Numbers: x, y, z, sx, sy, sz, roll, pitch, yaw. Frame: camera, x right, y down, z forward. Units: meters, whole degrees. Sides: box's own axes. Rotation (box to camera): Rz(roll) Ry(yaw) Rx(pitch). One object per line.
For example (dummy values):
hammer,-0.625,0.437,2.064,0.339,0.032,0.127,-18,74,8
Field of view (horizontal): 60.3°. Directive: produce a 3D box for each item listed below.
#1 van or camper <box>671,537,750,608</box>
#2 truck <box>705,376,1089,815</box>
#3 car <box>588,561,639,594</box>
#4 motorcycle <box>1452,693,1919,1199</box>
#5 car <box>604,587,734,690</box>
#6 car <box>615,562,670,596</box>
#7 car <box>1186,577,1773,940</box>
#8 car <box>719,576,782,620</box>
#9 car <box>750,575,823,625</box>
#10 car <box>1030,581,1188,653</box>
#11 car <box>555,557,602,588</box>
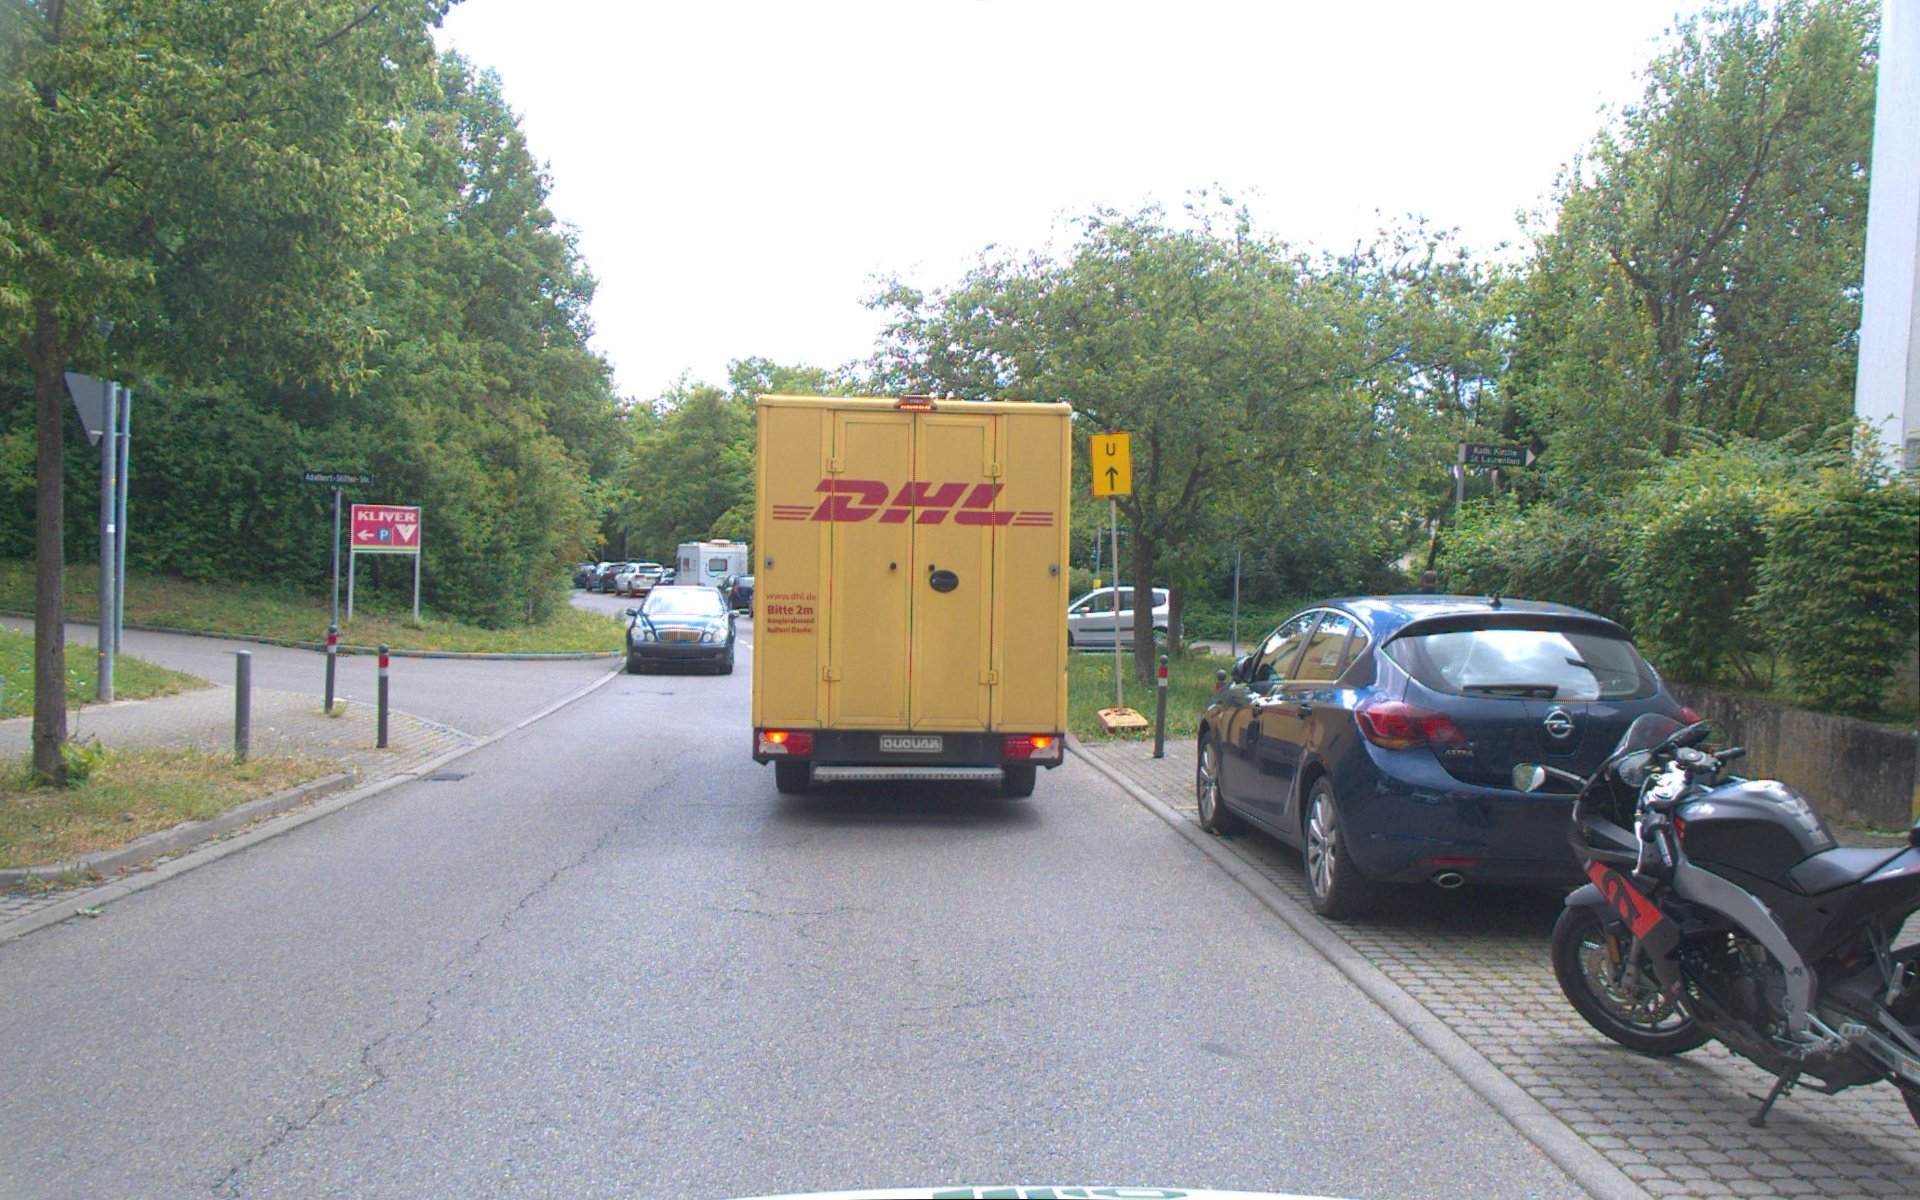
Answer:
van or camper,-11.210,-1.281,74.031,2.291,2.921,5.228,2,2,-21
truck,-0.607,-0.063,13.854,2.417,2.749,6.819,0,1,-4
car,-19.274,-1.255,91.859,1.821,1.641,3.967,2,2,-26
motorcycle,2.355,0.877,4.726,0.883,1.131,2.077,2,-2,-14
car,-4.402,0.530,25.494,1.642,1.378,3.964,3,0,-6
car,-16.613,-1.108,86.365,1.821,1.556,3.967,2,2,-26
car,2.462,0.678,8.920,1.694,1.458,3.966,3,0,-3
car,-8.570,-0.099,67.328,1.815,1.556,3.981,2,2,-18
car,-6.350,-0.023,60.216,1.815,1.556,3.981,2,2,-18
car,3.520,0.391,39.627,3.557,1.511,1.691,3,2,-1
car,-22.471,-1.619,97.302,1.821,1.641,3.967,2,2,-26
